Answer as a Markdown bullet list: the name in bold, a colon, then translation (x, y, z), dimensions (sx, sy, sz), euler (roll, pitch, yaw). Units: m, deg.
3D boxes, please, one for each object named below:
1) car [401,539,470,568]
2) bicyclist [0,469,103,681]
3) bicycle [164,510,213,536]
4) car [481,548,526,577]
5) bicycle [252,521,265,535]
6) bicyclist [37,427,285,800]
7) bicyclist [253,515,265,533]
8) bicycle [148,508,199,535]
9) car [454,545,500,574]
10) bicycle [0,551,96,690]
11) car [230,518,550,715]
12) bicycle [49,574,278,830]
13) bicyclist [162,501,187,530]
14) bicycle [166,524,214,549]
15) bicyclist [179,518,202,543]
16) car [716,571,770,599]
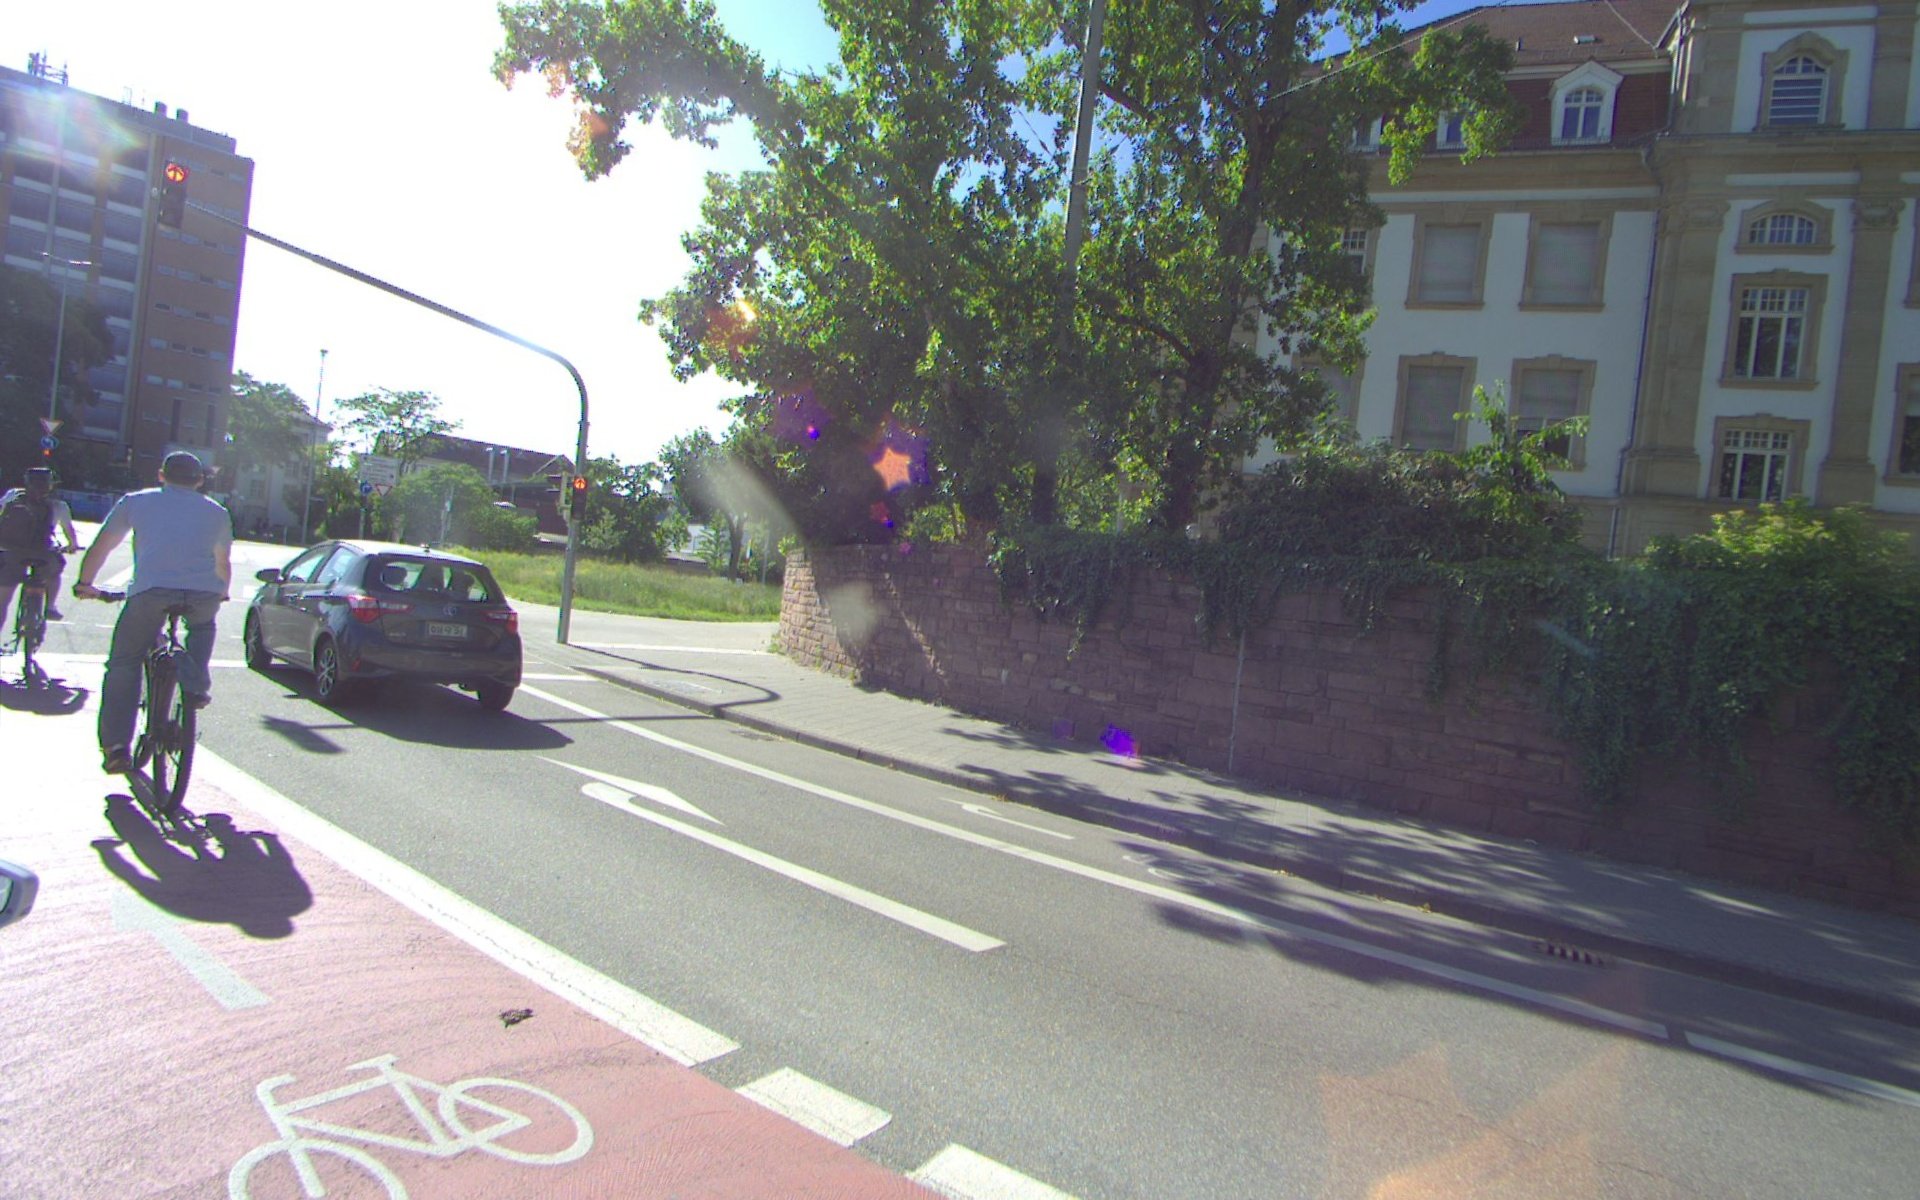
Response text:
- **car**: translation (-37.266, -3.279, 71.492), dimensions (4.200, 1.589, 1.810), euler (5, 1, -30)
- **bicyclist**: translation (-7.868, -0.225, 8.522), dimensions (0.720, 1.645, 1.042), euler (8, -1, -44)
- **bicycle**: translation (-59.289, -5.899, 77.368), dimensions (2.784, 1.559, 0.877), euler (8, -2, -34)
- **car**: translation (-38.951, -3.160, 85.857), dimensions (1.872, 1.957, 3.864), euler (6, -2, 1)
- **bicycle**: translation (-62.235, -6.367, 89.267), dimensions (0.603, 1.106, 1.660), euler (6, 1, -27)
- **bicyclist**: translation (-4.329, 0.063, 5.442), dimensions (1.000, 1.797, 0.748), euler (7, 0, 42)
- **bicyclist**: translation (-62.165, -6.708, 89.185), dimensions (0.613, 1.462, 0.813), euler (6, 1, -28)
- **bicycle**: translation (-58.125, -5.771, 74.368), dimensions (2.784, 1.559, 0.877), euler (8, -2, -34)
- **car**: translation (-41.226, -3.412, 86.004), dimensions (1.872, 1.957, 3.864), euler (6, -2, 1)
- **bicycle**: translation (-7.980, 0.135, 8.600), dimensions (0.721, 0.971, 1.860), euler (8, -1, -44)
- **car**: translation (-5.978, 0.112, 10.386), dimensions (3.609, 1.560, 1.753), euler (6, -1, 43)
- **bicycle**: translation (-4.408, 0.491, 5.515), dimensions (1.805, 1.090, 0.610), euler (6, 0, 42)
- **bicyclist**: translation (-58.063, -6.207, 74.368), dimensions (1.199, 1.919, 0.877), euler (7, -1, -33)
- **bicycle**: translation (-60.461, -4.993, 78.972), dimensions (0.873, 1.559, 2.796), euler (5, -2, 44)
- **bicyclist**: translation (-60.406, -5.434, 78.975), dimensions (0.873, 1.818, 1.154), euler (5, -1, 45)
- **car**: translation (-19.546, -1.350, 90.637), dimensions (4.310, 2.037, 1.988), euler (7, -2, -27)
